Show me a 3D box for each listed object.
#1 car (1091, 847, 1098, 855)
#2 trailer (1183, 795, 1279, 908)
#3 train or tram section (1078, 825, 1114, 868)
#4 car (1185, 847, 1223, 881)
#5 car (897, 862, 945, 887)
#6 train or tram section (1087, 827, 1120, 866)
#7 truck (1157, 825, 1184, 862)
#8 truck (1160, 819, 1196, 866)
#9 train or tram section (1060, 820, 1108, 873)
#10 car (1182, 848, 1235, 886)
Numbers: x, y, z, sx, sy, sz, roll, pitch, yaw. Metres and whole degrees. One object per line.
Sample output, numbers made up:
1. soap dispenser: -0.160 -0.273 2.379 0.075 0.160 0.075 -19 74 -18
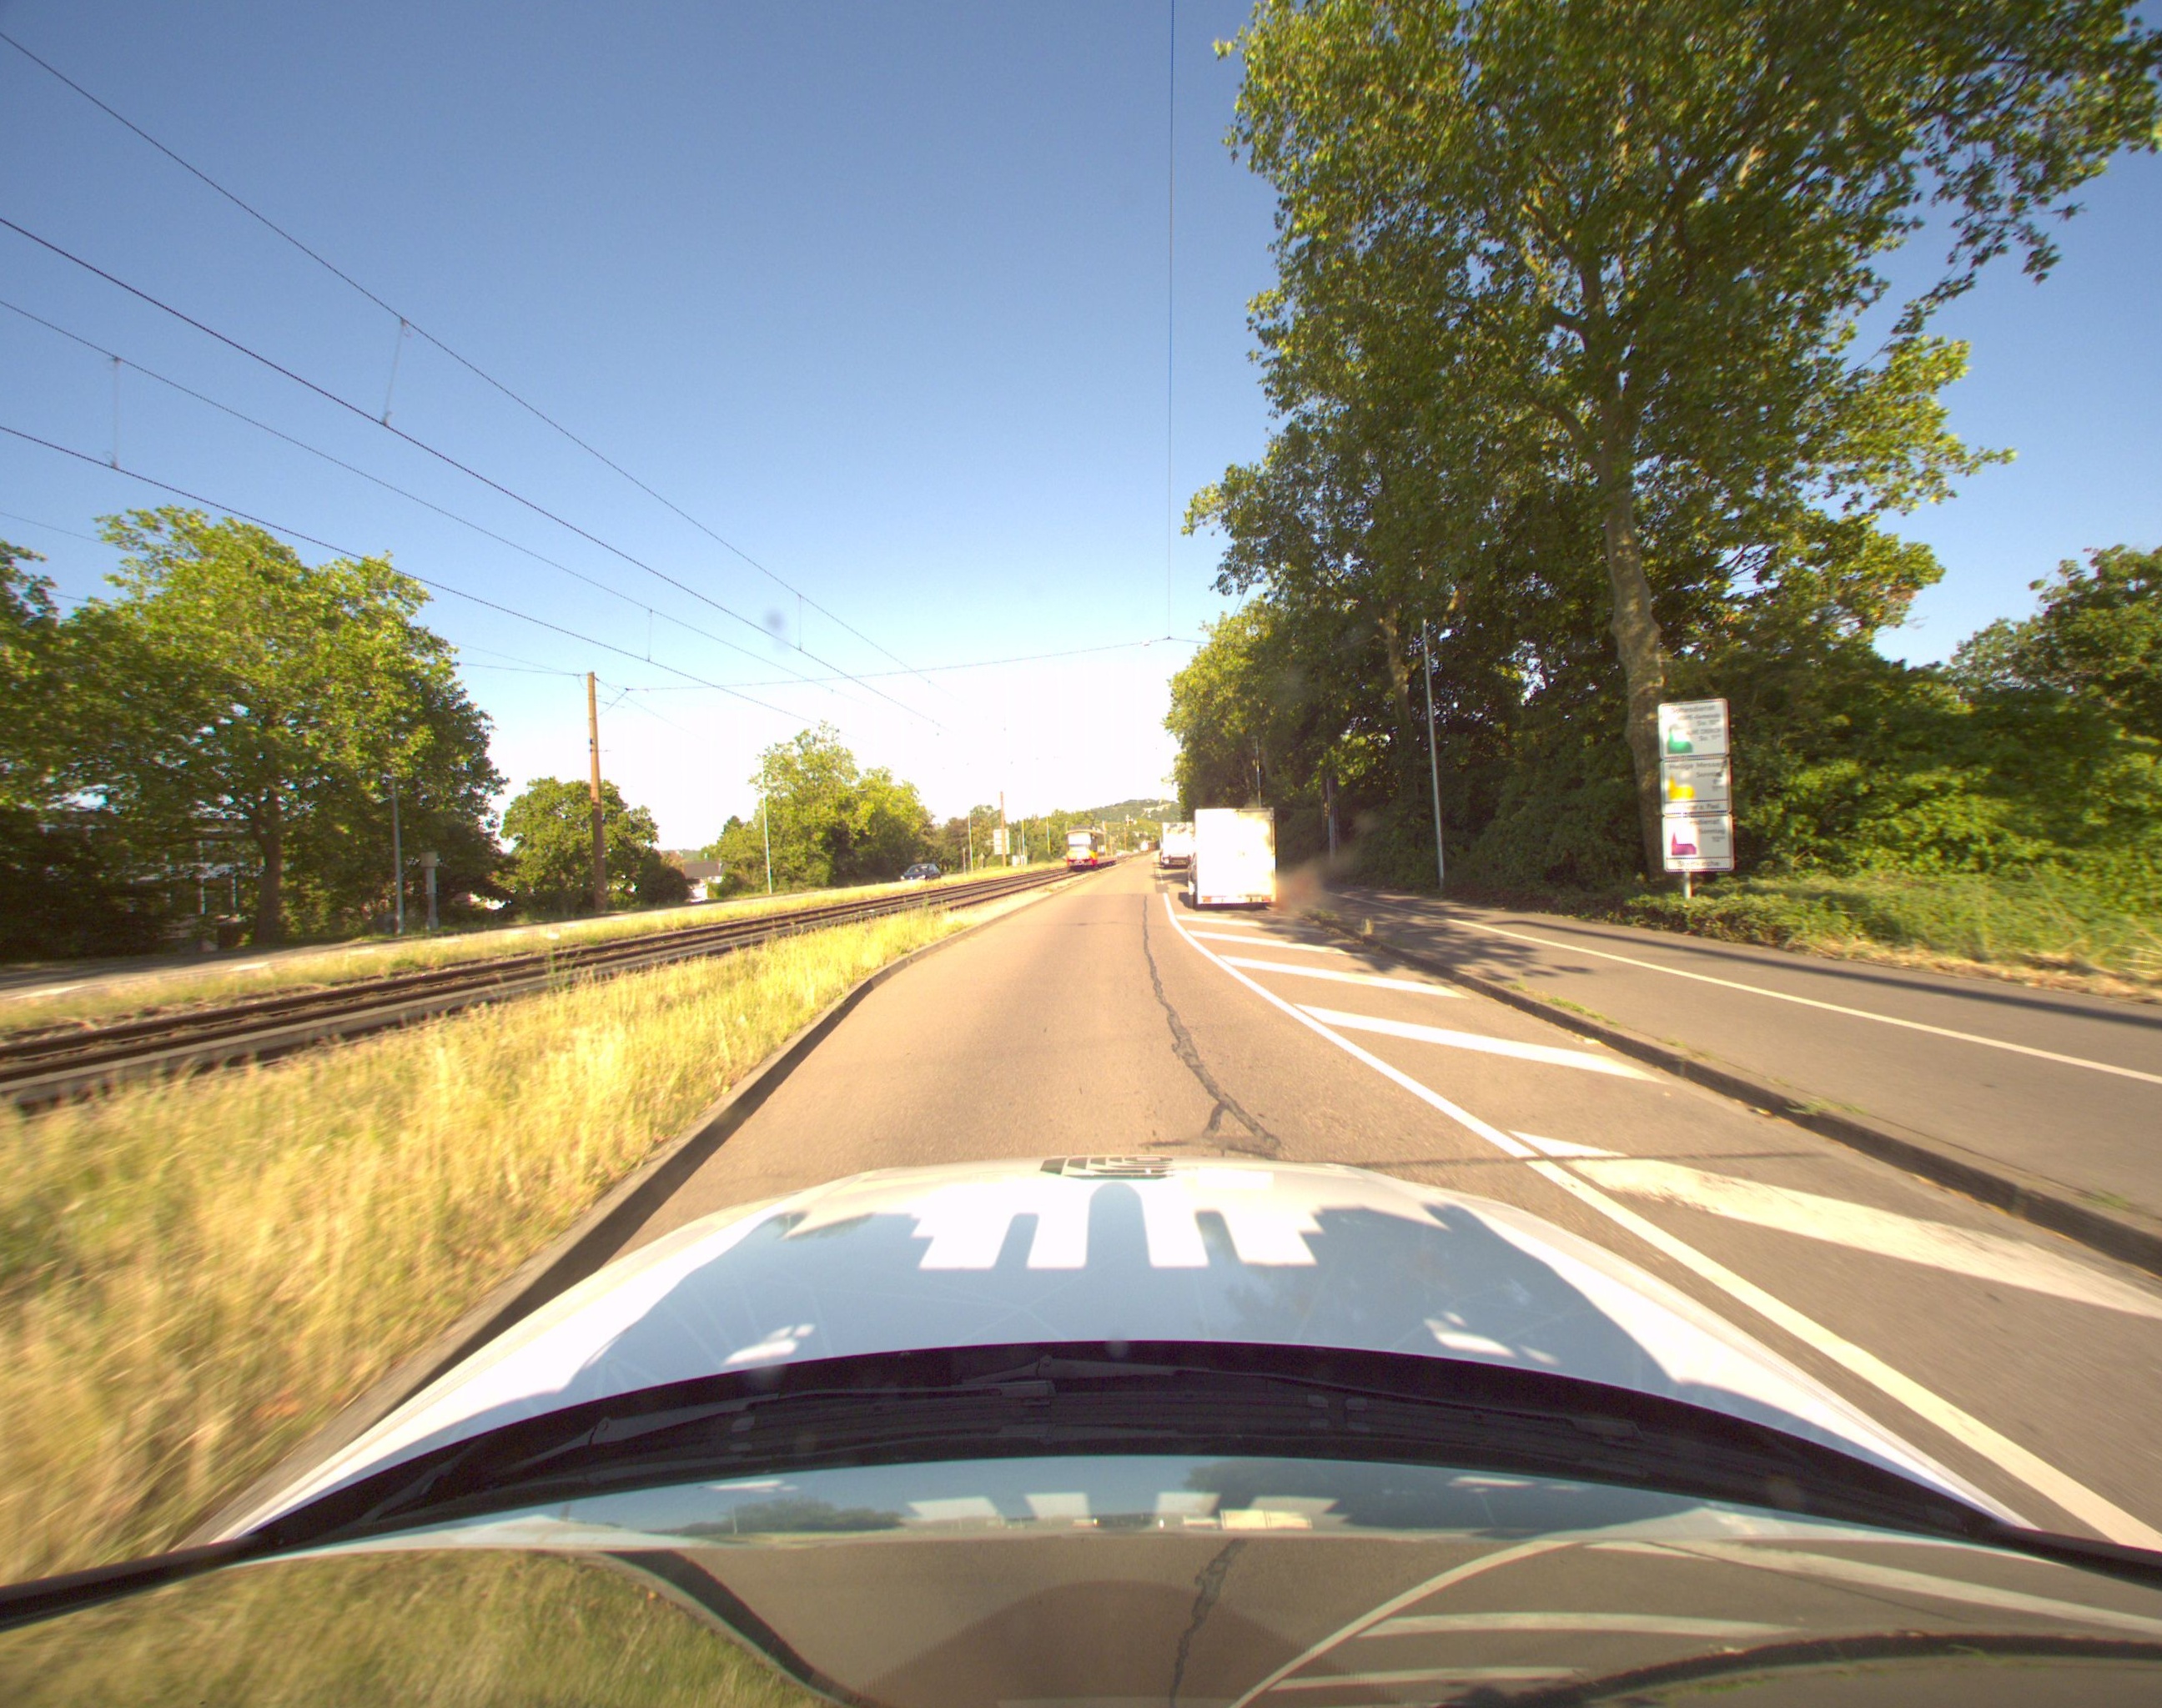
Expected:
1. car: 3.582 -0.712 220.135 1.717 2.014 4.002 -1 -1 2
2. trailer: 4.111 -0.060 22.960 2.238 2.694 5.961 -2 0 8
3. train or tram section: 1.627 -0.749 83.930 2.681 4.088 9.926 -4 0 5
4. car: 5.913 0.451 39.517 1.632 1.536 3.646 0 0 5
5. car: -10.437 1.324 53.484 1.764 1.425 4.497 -3 0 6
6. train or tram section: 2.743 -0.821 95.272 2.706 4.088 12.833 -4 0 5
7. truck: 9.745 -1.114 89.842 2.704 3.783 9.775 -1 0 5
8. truck: 8.336 -0.958 70.750 2.729 3.783 10.103 -1 0 5
9. train or tram section: 0.485 -0.623 72.242 2.708 4.091 13.637 -4 0 6
10. car: 5.208 0.492 33.798 1.801 1.457 4.170 -1 0 4
